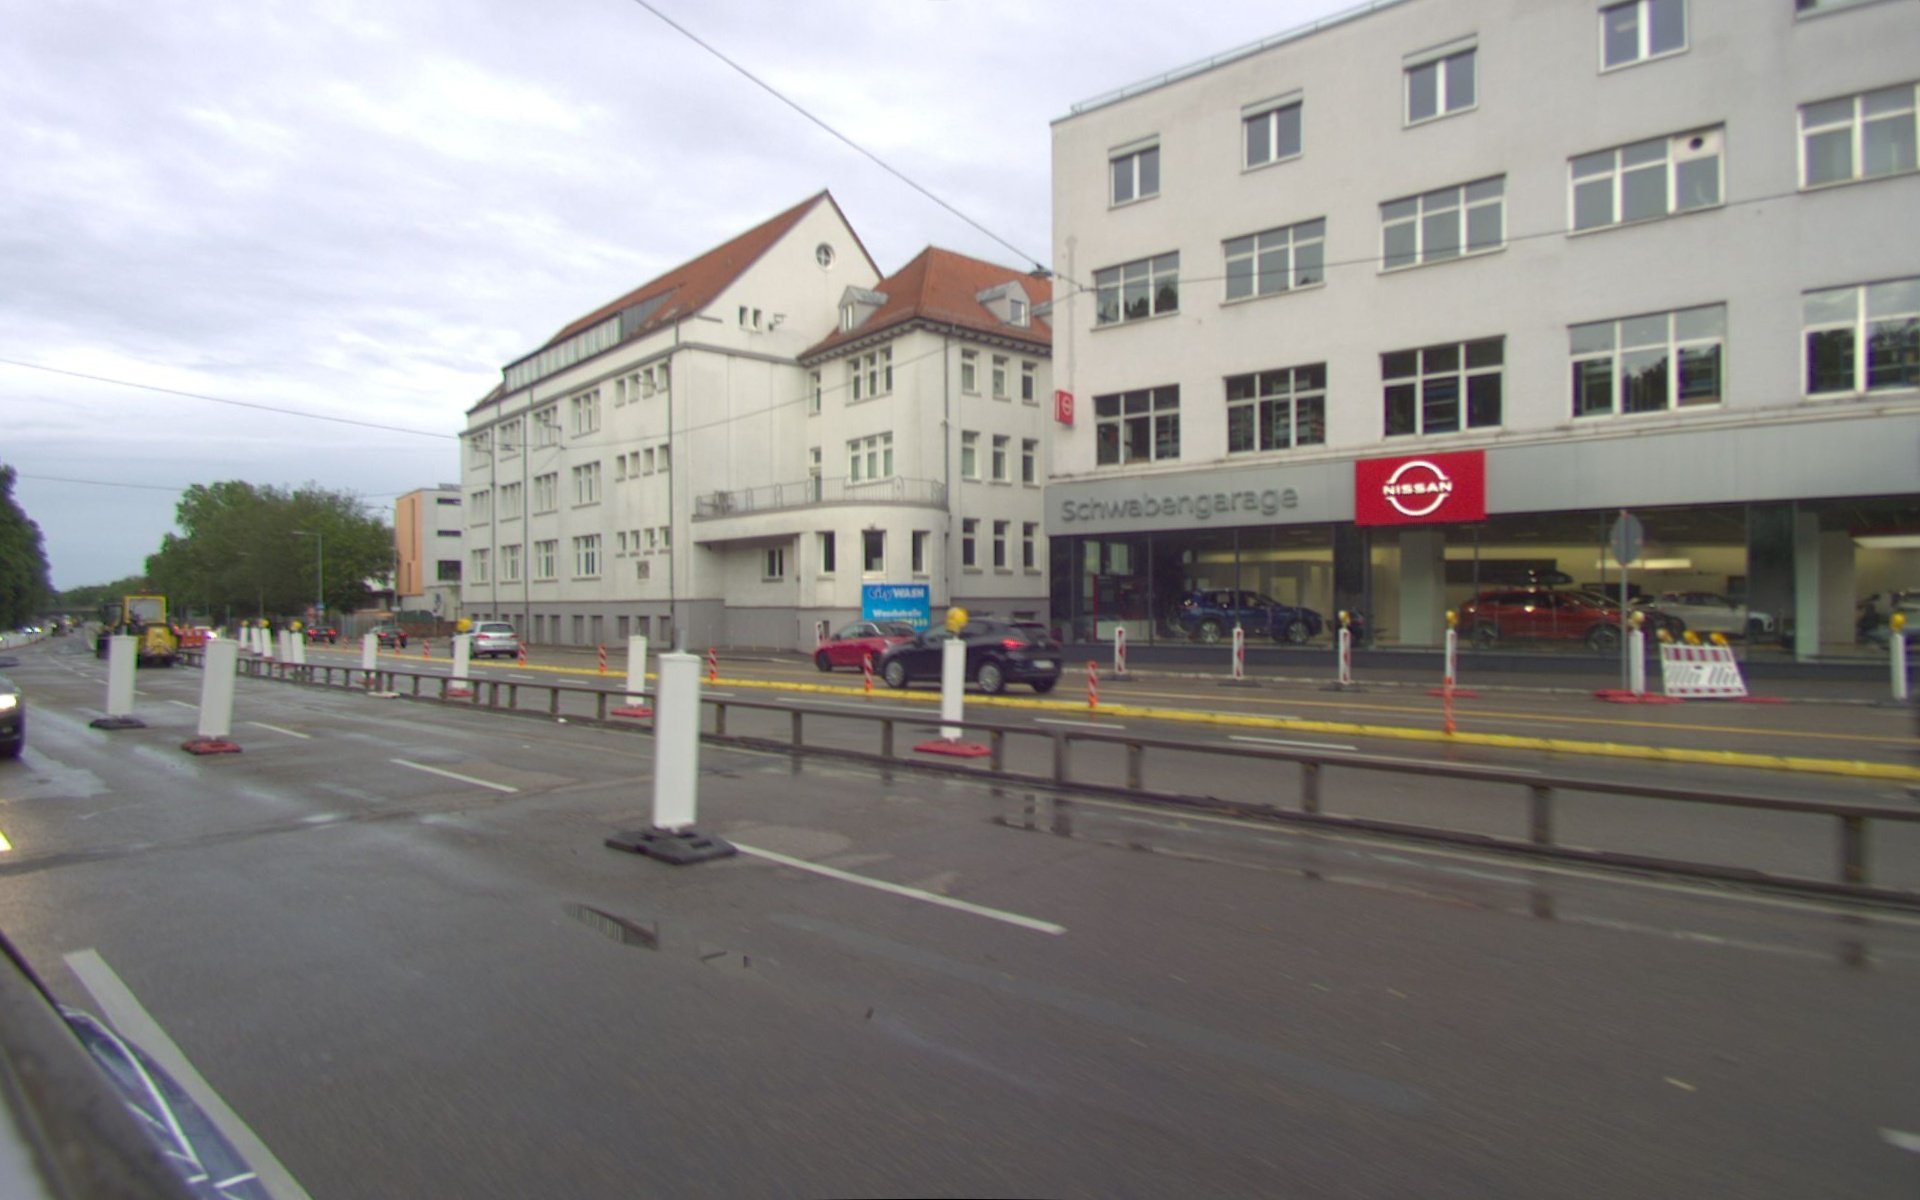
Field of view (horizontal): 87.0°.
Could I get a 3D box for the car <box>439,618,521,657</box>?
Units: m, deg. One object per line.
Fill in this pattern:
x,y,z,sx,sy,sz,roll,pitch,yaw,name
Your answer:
-19.080,1.496,40.162,1.681,1.475,4.120,3,-4,-44,car

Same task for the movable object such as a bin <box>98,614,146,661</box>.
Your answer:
-38.409,1.713,46.353,1.379,2.060,4.089,1,-3,-44,movable object such as a bin

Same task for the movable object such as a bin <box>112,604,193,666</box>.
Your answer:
-29.492,1.266,36.927,1.970,2.128,3.852,1,-3,-44,movable object such as a bin

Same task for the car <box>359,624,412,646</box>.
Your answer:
-36.831,2.234,64.806,4.000,1.392,1.837,-2,-3,43,car

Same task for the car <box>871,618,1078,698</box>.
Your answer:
0.222,1.058,19.689,3.804,1.397,1.778,-1,-2,42,car

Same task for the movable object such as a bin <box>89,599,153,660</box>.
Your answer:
-41.864,1.469,50.464,2.096,2.860,4.482,1,-2,-44,movable object such as a bin

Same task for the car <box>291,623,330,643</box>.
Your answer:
-52.159,2.642,81.242,1.970,1.597,4.215,1,-2,-43,car

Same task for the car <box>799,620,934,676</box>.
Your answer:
-2.639,1.274,28.053,3.709,1.425,1.715,-1,-2,43,car

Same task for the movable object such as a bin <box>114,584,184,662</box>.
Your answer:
-32.097,0.933,40.032,1.801,2.935,3.610,2,-3,-44,movable object such as a bin

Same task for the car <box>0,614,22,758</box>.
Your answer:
-11.820,0.915,11.049,4.173,1.461,1.742,-2,-2,39,car

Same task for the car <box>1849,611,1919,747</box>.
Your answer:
11.575,0.787,9.514,4.811,1.362,1.778,-1,-2,42,car
